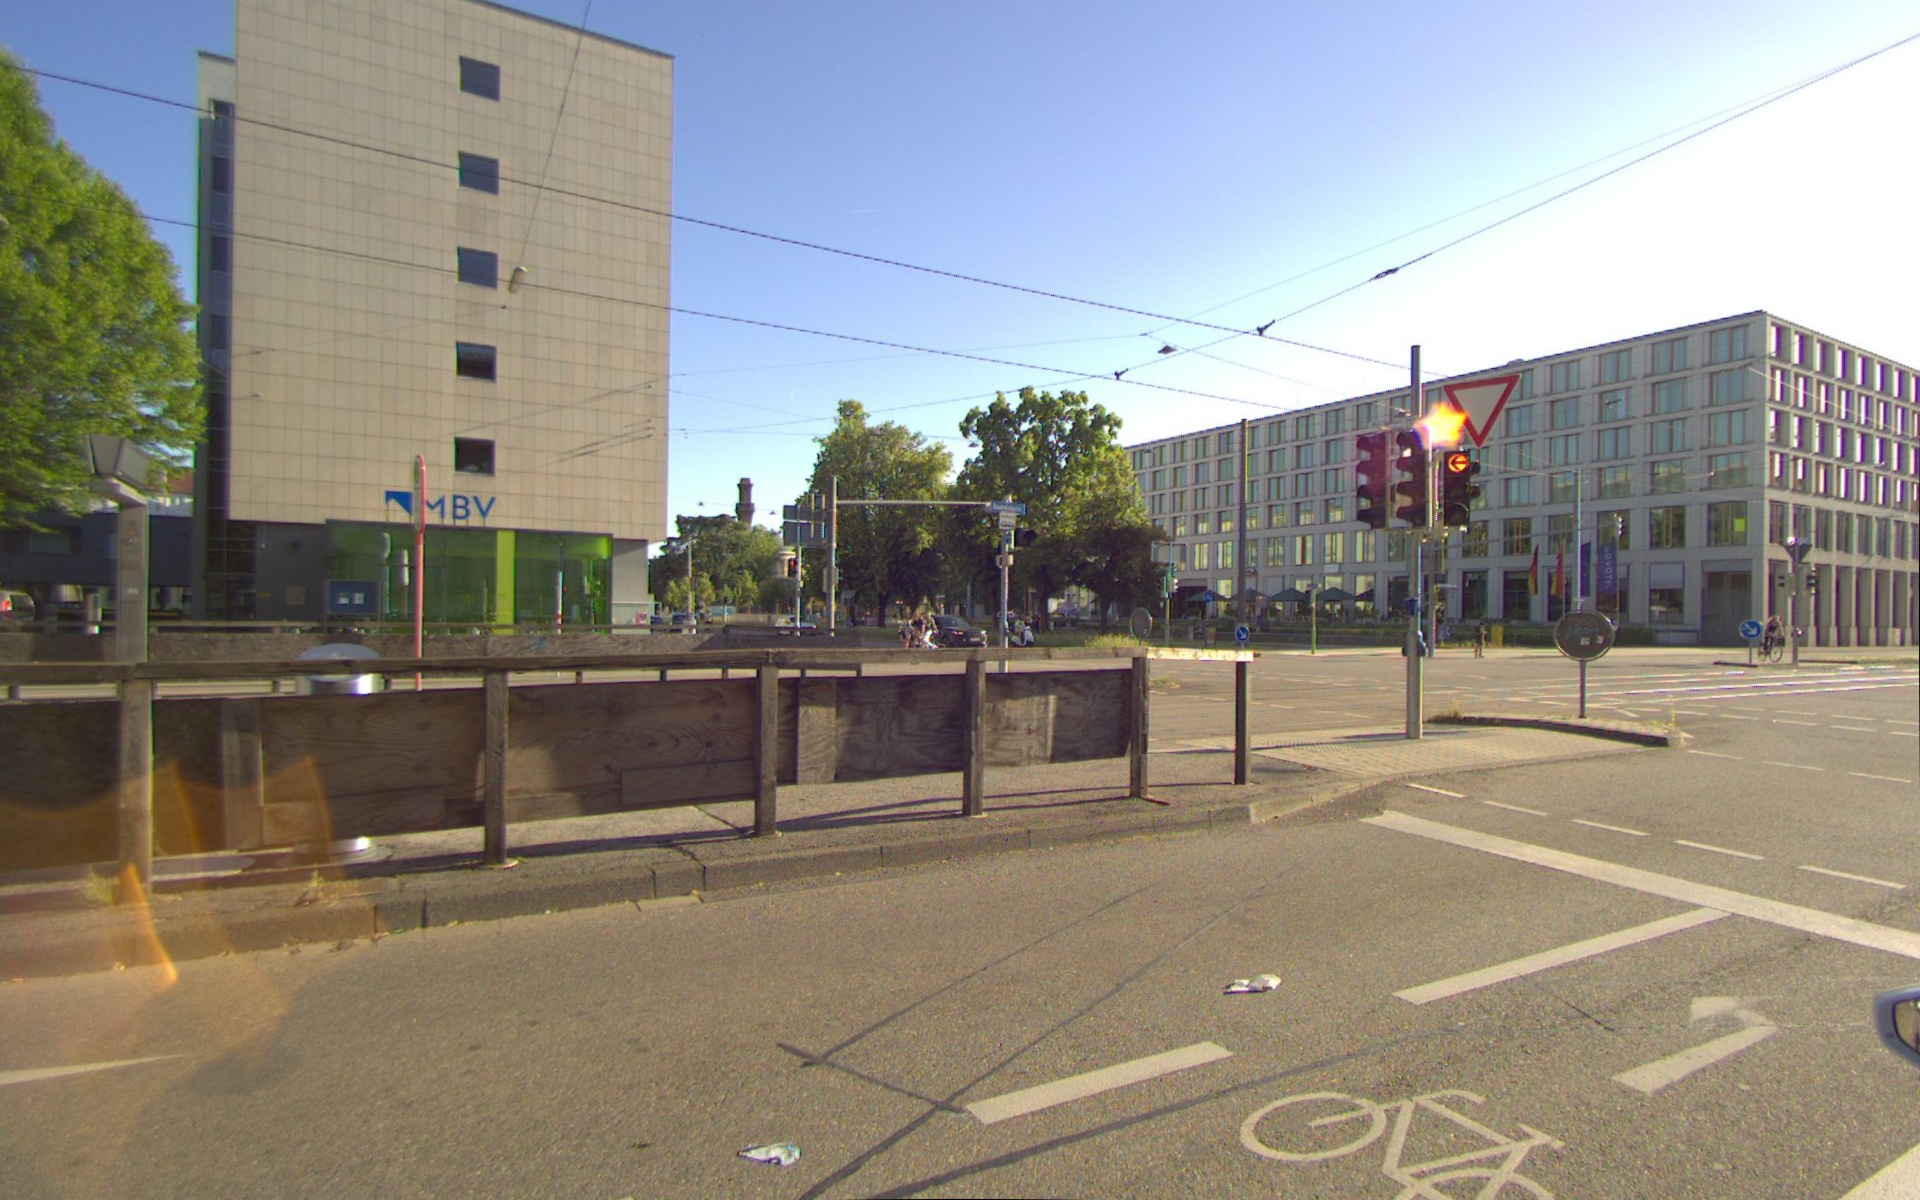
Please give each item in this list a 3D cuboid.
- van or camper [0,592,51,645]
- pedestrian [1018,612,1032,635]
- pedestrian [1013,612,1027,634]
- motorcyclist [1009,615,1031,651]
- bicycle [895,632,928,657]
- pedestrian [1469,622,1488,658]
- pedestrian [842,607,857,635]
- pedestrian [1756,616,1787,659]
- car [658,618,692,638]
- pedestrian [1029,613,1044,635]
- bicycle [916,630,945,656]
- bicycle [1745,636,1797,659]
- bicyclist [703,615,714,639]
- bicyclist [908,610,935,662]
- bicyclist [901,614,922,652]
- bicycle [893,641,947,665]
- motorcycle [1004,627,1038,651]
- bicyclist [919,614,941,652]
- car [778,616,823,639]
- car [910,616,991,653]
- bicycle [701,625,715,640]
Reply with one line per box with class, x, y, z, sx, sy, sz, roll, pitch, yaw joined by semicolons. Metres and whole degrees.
van or camper;-27.889;0.430;27.560;3.954;1.425;1.954;4;-3;-30
pedestrian;5.143;1.875;79.755;0.858;1.738;0.737;2;0;-26
pedestrian;4.918;1.883;82.758;0.858;1.738;0.737;2;0;-26
motorcyclist;2.806;1.538;46.982;0.624;1.601;0.812;-3;1;-28
bicycle;-2.039;1.845;42.015;0.577;1.032;1.806;1;-3;-31
pedestrian;25.158;1.931;48.706;0.595;1.703;0.605;1;-1;-5
pedestrian;-8.155;1.555;74.132;0.772;2.040;0.747;1;-1;-31
pedestrian;31.191;1.436;38.608;0.562;1.616;0.744;1;-1;-3
car;-23.996;2.361;84.503;1.975;1.472;4.179;2;0;-28
pedestrian;6.061;1.901;79.365;0.858;1.738;0.737;2;0;-26
bicycle;-1.267;1.813;42.376;0.576;1.032;1.666;1;-1;-27
bicycle;31.192;1.832;38.648;0.562;0.834;1.718;1;-1;-2
bicyclist;-17.507;1.851;69.907;0.576;1.658;0.890;1;-1;-27
bicyclist;-1.335;1.234;34.526;0.762;1.784;0.532;1;-1;-30
bicyclist;-2.034;1.367;42.011;0.577;1.563;0.833;1;-2;-32
bicycle;-1.356;1.802;34.509;1.831;0.798;0.532;1;-1;-31
motorcycle;2.846;1.819;46.951;0.624;1.030;1.972;-3;1;-28
bicyclist;-1.274;1.397;42.411;0.576;1.563;0.890;1;-1;-27
car;-11.612;1.960;72.802;1.975;1.472;4.179;2;0;-28
car;-0.468;1.528;44.949;1.925;1.561;3.969;2;-2;-29
bicycle;-17.523;2.250;69.916;0.576;1.032;1.666;1;-1;-27
